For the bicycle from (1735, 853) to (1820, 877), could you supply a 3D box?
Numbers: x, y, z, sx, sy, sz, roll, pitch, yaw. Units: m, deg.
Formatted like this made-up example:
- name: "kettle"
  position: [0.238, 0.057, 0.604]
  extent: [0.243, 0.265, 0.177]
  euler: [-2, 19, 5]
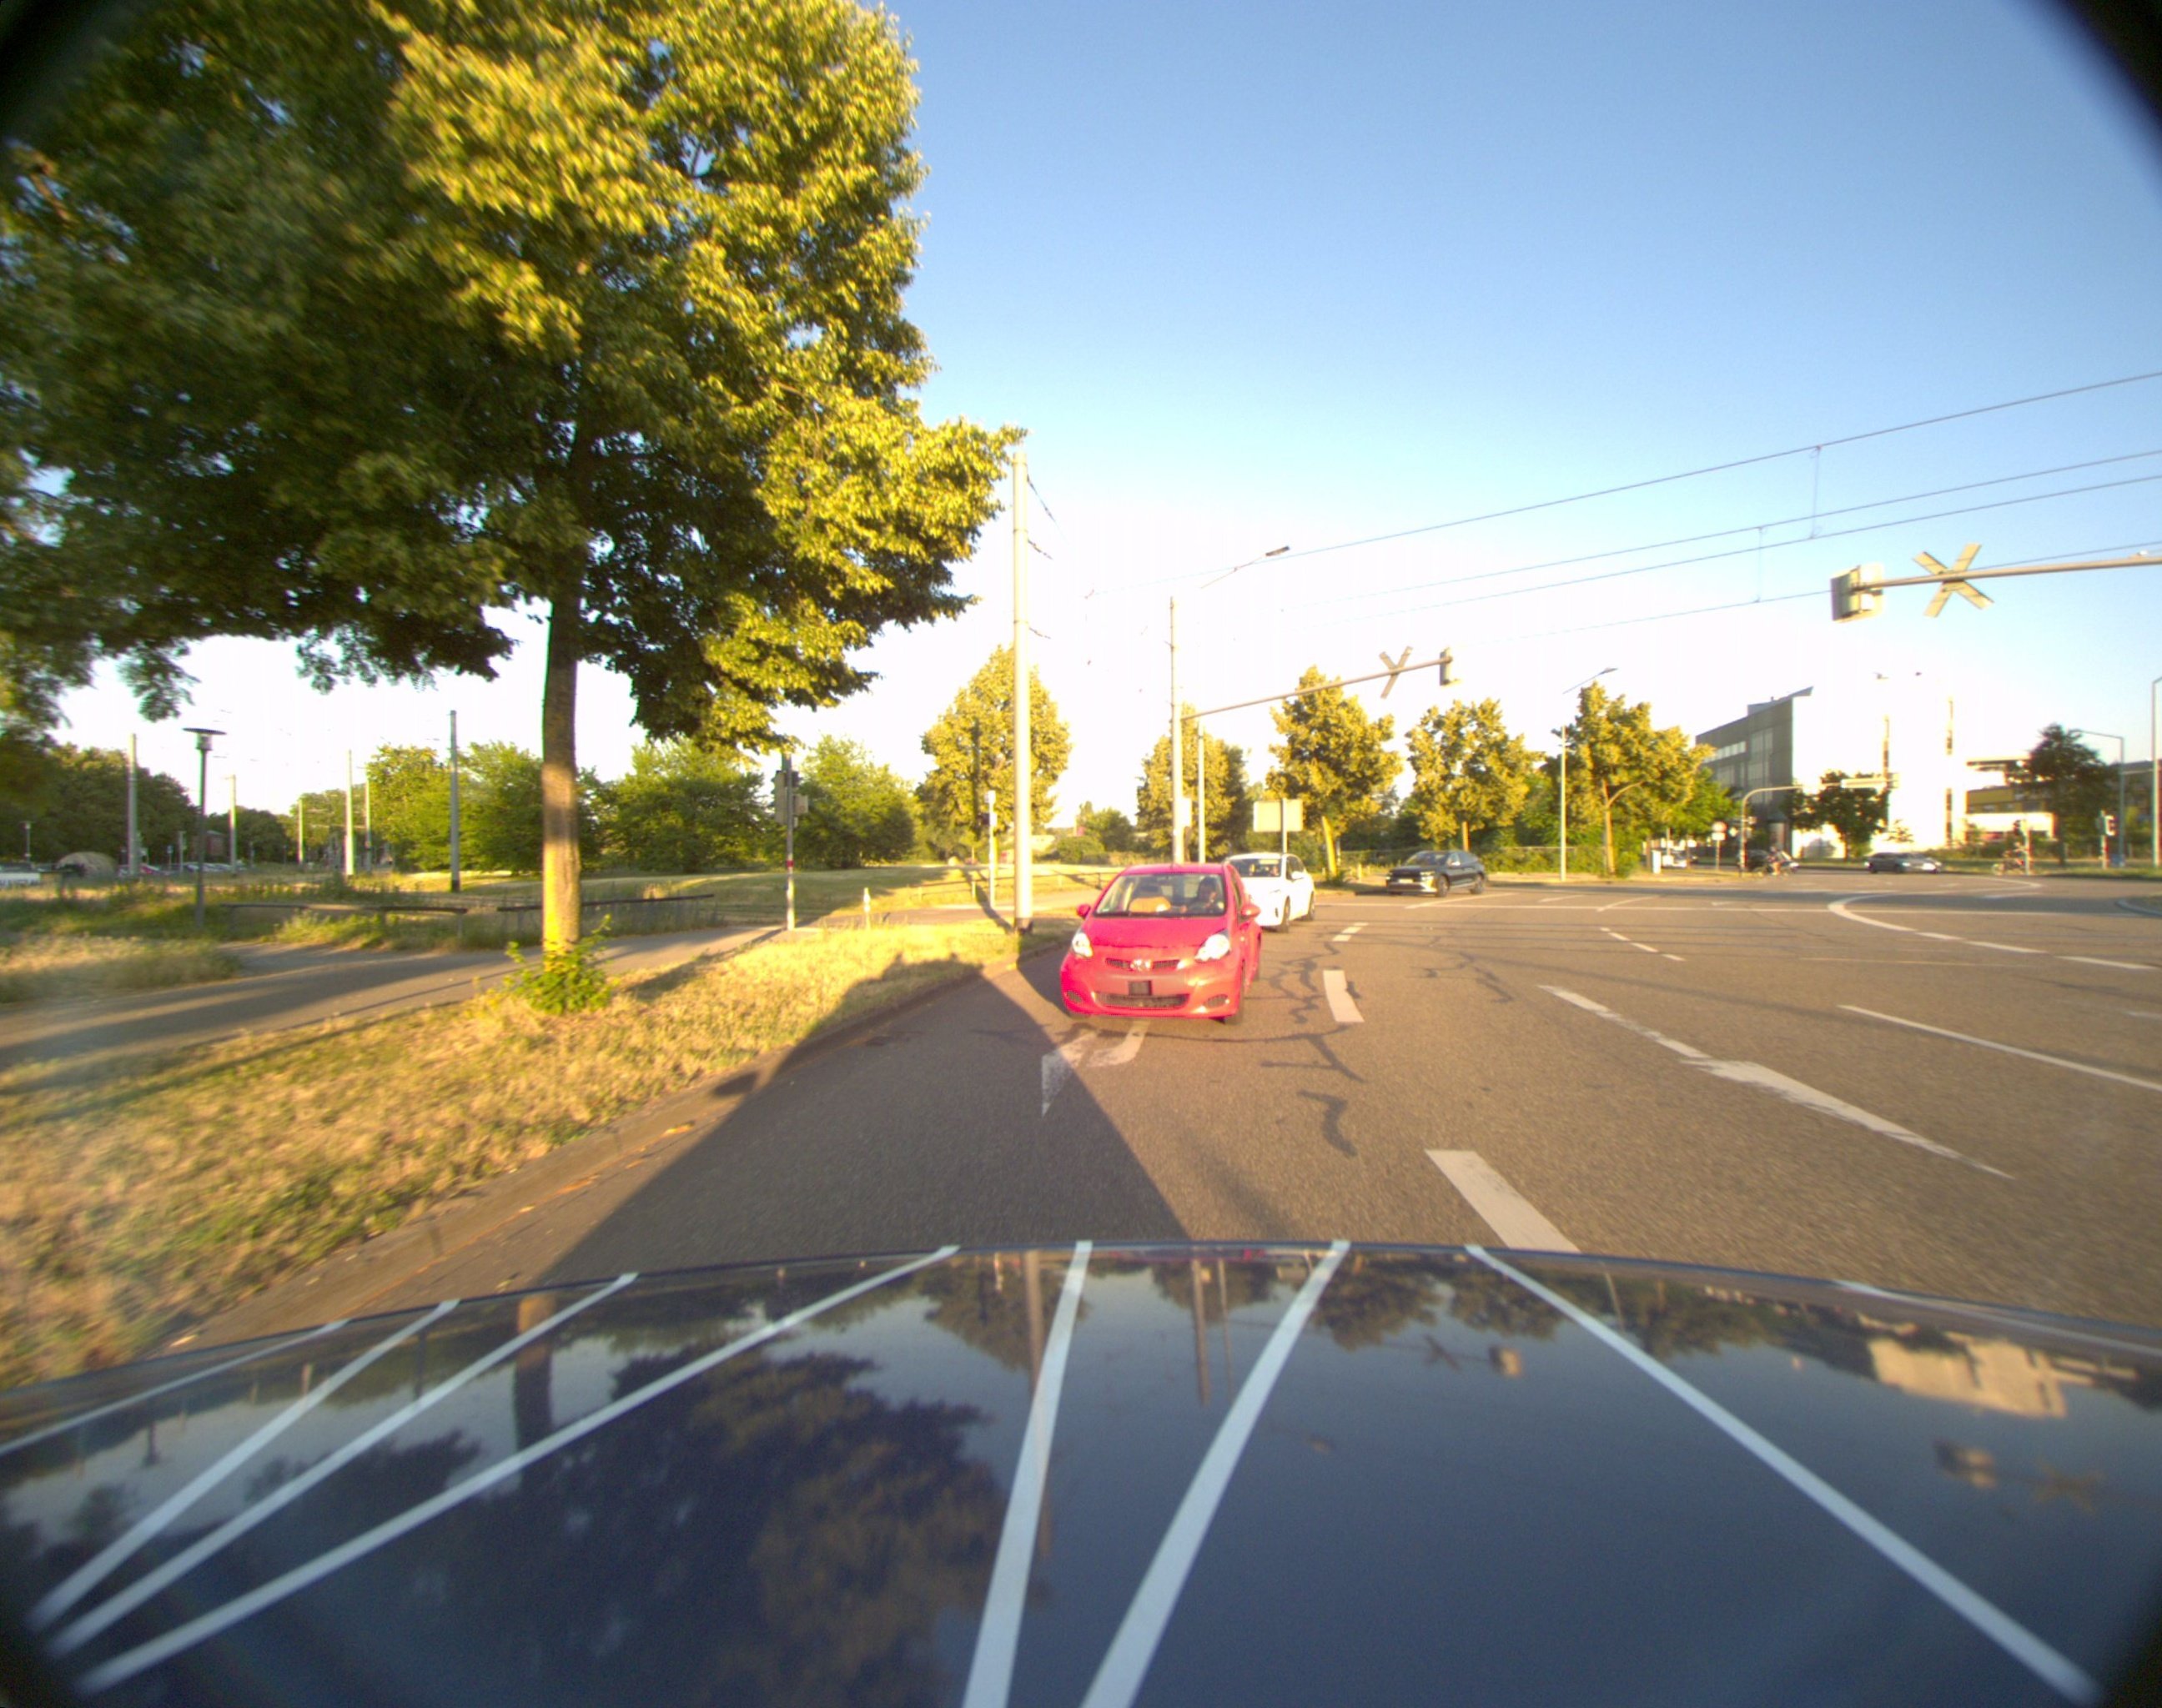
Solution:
- name: "bicycle"
  position: [40.661, 0.628, 44.429]
  extent: [3.532, 1.387, 1.125]
  euler: [-1, 1, 16]

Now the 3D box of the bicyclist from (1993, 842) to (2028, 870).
- name: "bicyclist"
  position: [53.481, 0.126, 43.738]
  extent: [0.998, 1.623, 0.812]
  euler: [0, 1, 17]

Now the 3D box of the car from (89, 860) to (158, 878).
- name: "car"
  position: [-84.974, 1.326, 67.493]
  extent: [1.706, 1.473, 3.620]
  euler: [-2, -2, 44]

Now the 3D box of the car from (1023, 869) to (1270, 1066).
- name: "car"
  position: [0.975, 0.927, 7.972]
  extent: [1.691, 1.413, 4.216]
  euler: [-3, -1, 17]

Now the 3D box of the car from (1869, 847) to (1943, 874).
- name: "car"
  position: [52.677, 0.394, 48.632]
  extent: [1.868, 1.616, 4.200]
  euler: [0, 1, 27]

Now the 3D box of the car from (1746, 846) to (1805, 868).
- name: "car"
  position: [53.814, 0.218, 58.976]
  extent: [1.869, 1.616, 4.198]
  euler: [-1, 1, 18]

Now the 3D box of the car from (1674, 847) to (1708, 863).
- name: "car"
  position: [67.287, 0.087, 83.831]
  extent: [1.868, 1.616, 4.199]
  euler: [0, 1, 23]

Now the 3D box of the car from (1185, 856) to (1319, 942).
- name: "car"
  position: [3.735, 0.828, 16.026]
  extent: [1.755, 1.549, 4.223]
  euler: [0, 0, 27]

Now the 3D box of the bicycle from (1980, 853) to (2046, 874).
- name: "bicycle"
  position: [53.582, 0.533, 43.708]
  extent: [2.324, 1.172, 0.812]
  euler: [0, 1, 17]

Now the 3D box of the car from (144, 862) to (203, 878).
- name: "car"
  position: [-89.291, 1.575, 74.803]
  extent: [1.706, 1.473, 3.620]
  euler: [-2, -2, 44]

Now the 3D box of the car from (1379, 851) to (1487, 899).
- name: "car"
  position: [12.432, 0.680, 26.725]
  extent: [4.223, 1.549, 1.823]
  euler: [0, 0, -40]

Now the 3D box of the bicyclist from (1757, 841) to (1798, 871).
- name: "bicyclist"
  position: [40.689, 0.106, 44.391]
  extent: [1.414, 1.739, 1.125]
  euler: [0, 1, 16]
